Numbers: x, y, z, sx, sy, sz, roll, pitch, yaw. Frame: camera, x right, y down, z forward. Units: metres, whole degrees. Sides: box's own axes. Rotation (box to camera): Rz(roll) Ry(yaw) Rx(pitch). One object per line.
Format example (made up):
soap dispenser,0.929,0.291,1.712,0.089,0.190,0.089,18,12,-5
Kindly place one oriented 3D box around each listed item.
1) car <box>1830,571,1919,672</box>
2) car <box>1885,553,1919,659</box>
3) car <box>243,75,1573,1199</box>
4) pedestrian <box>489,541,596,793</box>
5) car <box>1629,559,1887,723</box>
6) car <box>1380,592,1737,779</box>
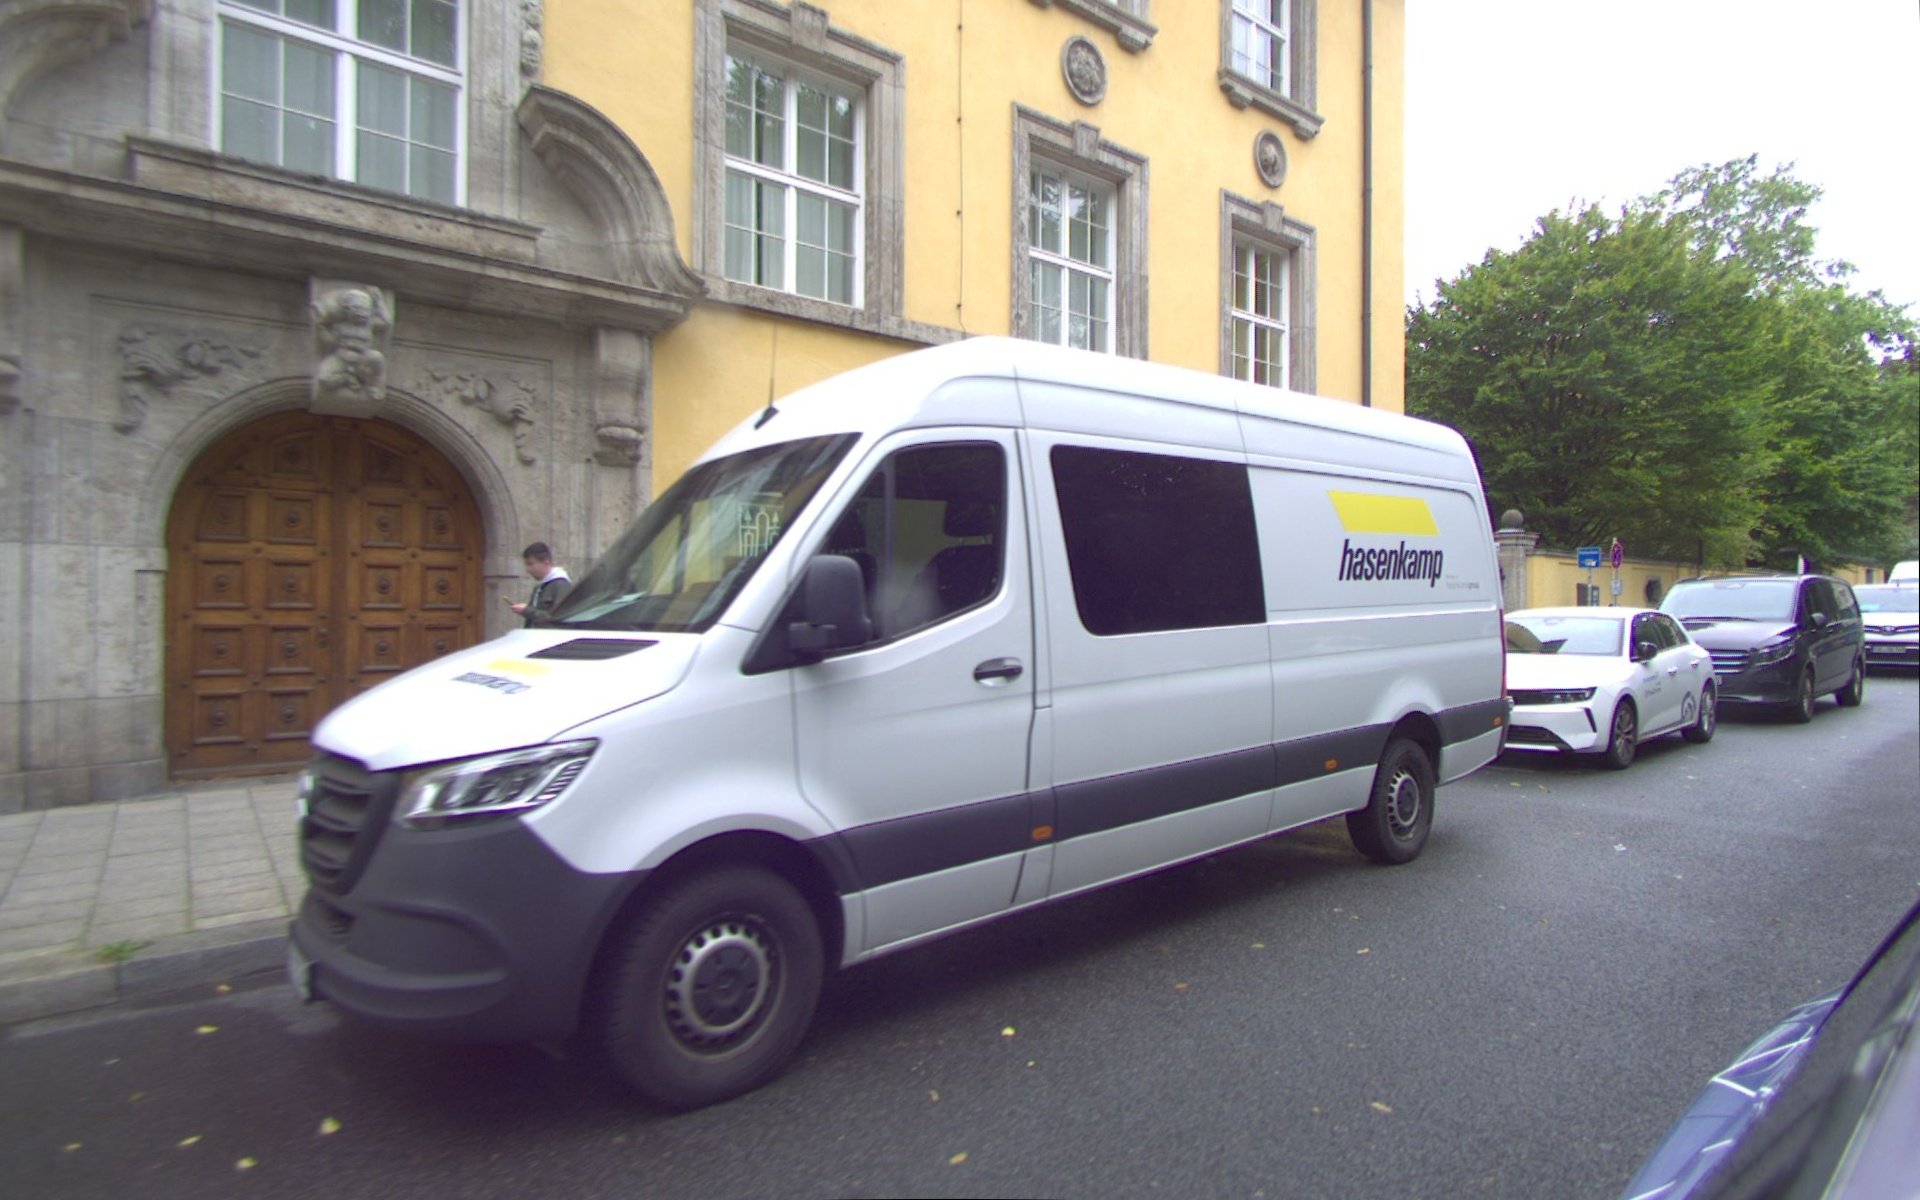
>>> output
car,19.984,0.394,21.180,5.075,1.931,2.016,-1,-1,-42
car,25.220,0.063,25.503,5.639,2.518,2.099,-2,1,-40
car,0.789,0.123,5.476,7.480,2.706,2.058,-1,0,-40
pedestrian,-3.207,0.470,7.768,0.572,1.826,0.702,-1,2,-39
car,11.155,0.432,14.009,4.899,1.892,1.874,-1,1,-40
car,6.214,0.687,10.324,4.180,1.476,1.874,-1,1,-40
